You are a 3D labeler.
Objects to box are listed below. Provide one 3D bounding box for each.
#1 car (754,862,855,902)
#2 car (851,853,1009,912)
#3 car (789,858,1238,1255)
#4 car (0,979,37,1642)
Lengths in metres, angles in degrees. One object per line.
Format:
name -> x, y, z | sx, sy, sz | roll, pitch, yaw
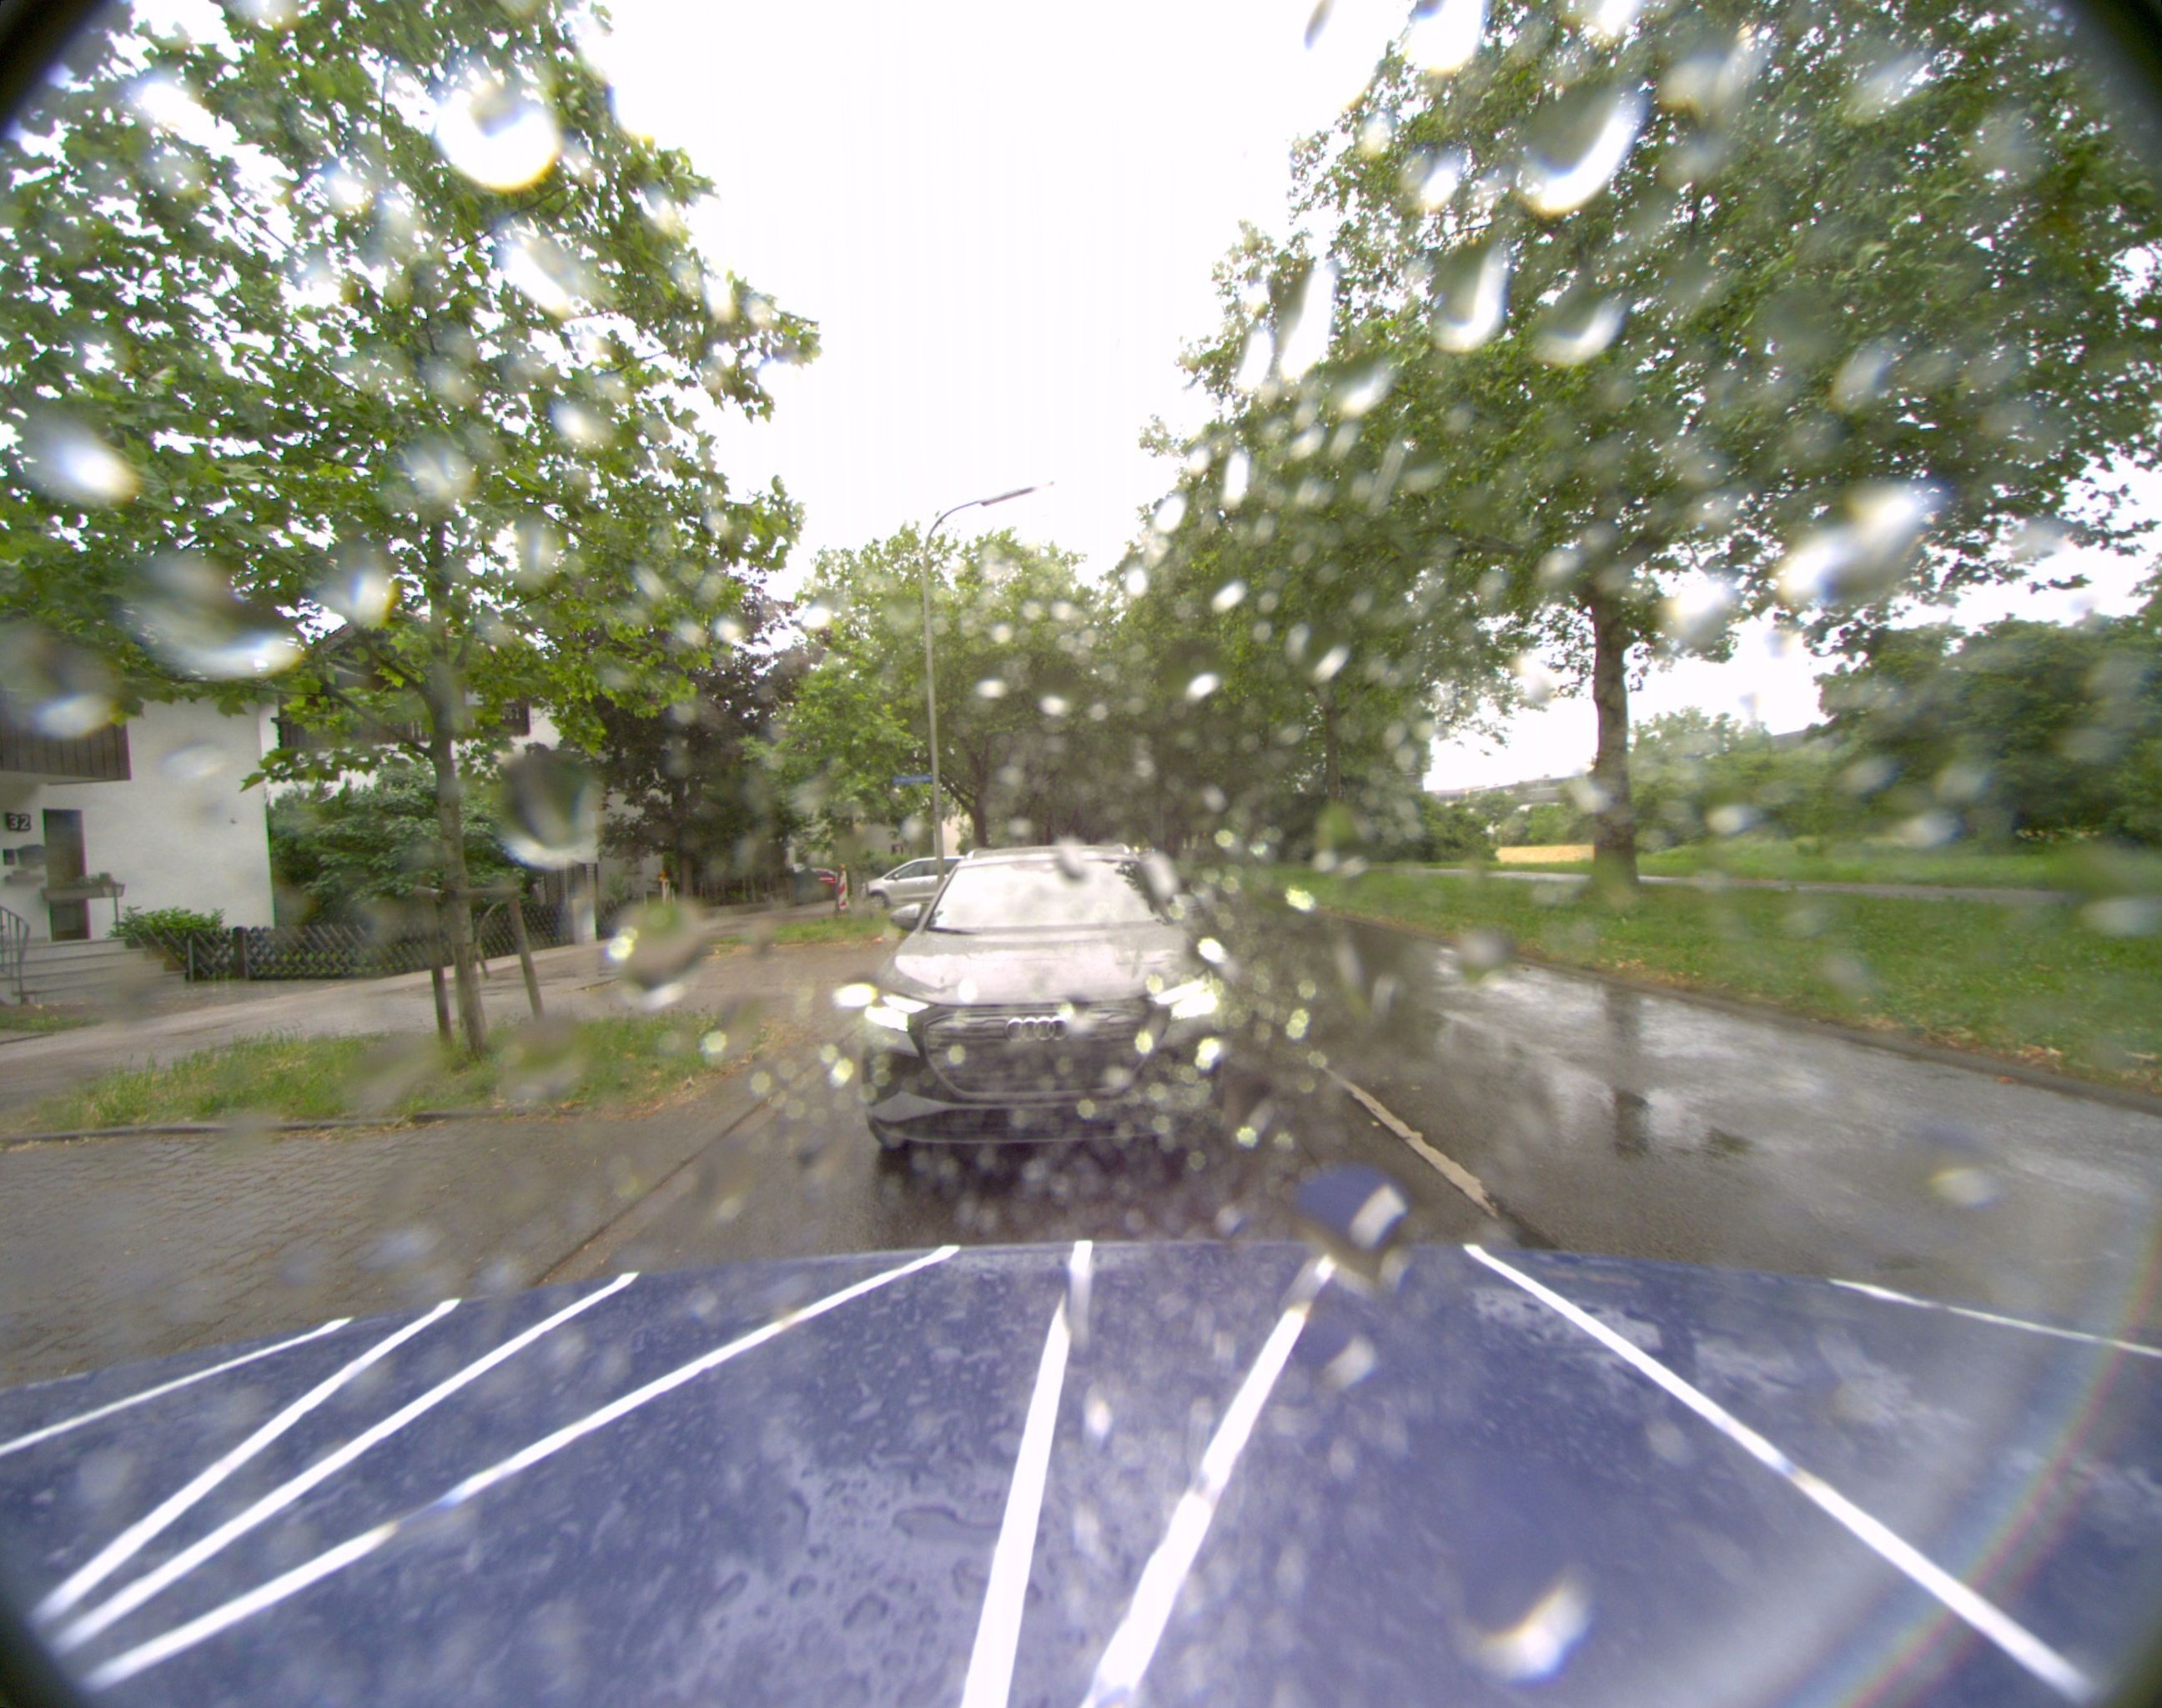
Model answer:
car -> -12.656, 1.250, 34.901 | 3.853, 1.603, 1.843 | -3, 0, 2
car -> -4.818, 0.895, 24.758 | 4.701, 1.651, 1.976 | -3, 0, -1
car -> -0.254, 0.889, 5.477 | 1.862, 1.608, 4.423 | -3, 0, 1
car -> -4.752, 1.109, 0.612 | 4.779, 1.464, 1.937 | -2, 0, -4
